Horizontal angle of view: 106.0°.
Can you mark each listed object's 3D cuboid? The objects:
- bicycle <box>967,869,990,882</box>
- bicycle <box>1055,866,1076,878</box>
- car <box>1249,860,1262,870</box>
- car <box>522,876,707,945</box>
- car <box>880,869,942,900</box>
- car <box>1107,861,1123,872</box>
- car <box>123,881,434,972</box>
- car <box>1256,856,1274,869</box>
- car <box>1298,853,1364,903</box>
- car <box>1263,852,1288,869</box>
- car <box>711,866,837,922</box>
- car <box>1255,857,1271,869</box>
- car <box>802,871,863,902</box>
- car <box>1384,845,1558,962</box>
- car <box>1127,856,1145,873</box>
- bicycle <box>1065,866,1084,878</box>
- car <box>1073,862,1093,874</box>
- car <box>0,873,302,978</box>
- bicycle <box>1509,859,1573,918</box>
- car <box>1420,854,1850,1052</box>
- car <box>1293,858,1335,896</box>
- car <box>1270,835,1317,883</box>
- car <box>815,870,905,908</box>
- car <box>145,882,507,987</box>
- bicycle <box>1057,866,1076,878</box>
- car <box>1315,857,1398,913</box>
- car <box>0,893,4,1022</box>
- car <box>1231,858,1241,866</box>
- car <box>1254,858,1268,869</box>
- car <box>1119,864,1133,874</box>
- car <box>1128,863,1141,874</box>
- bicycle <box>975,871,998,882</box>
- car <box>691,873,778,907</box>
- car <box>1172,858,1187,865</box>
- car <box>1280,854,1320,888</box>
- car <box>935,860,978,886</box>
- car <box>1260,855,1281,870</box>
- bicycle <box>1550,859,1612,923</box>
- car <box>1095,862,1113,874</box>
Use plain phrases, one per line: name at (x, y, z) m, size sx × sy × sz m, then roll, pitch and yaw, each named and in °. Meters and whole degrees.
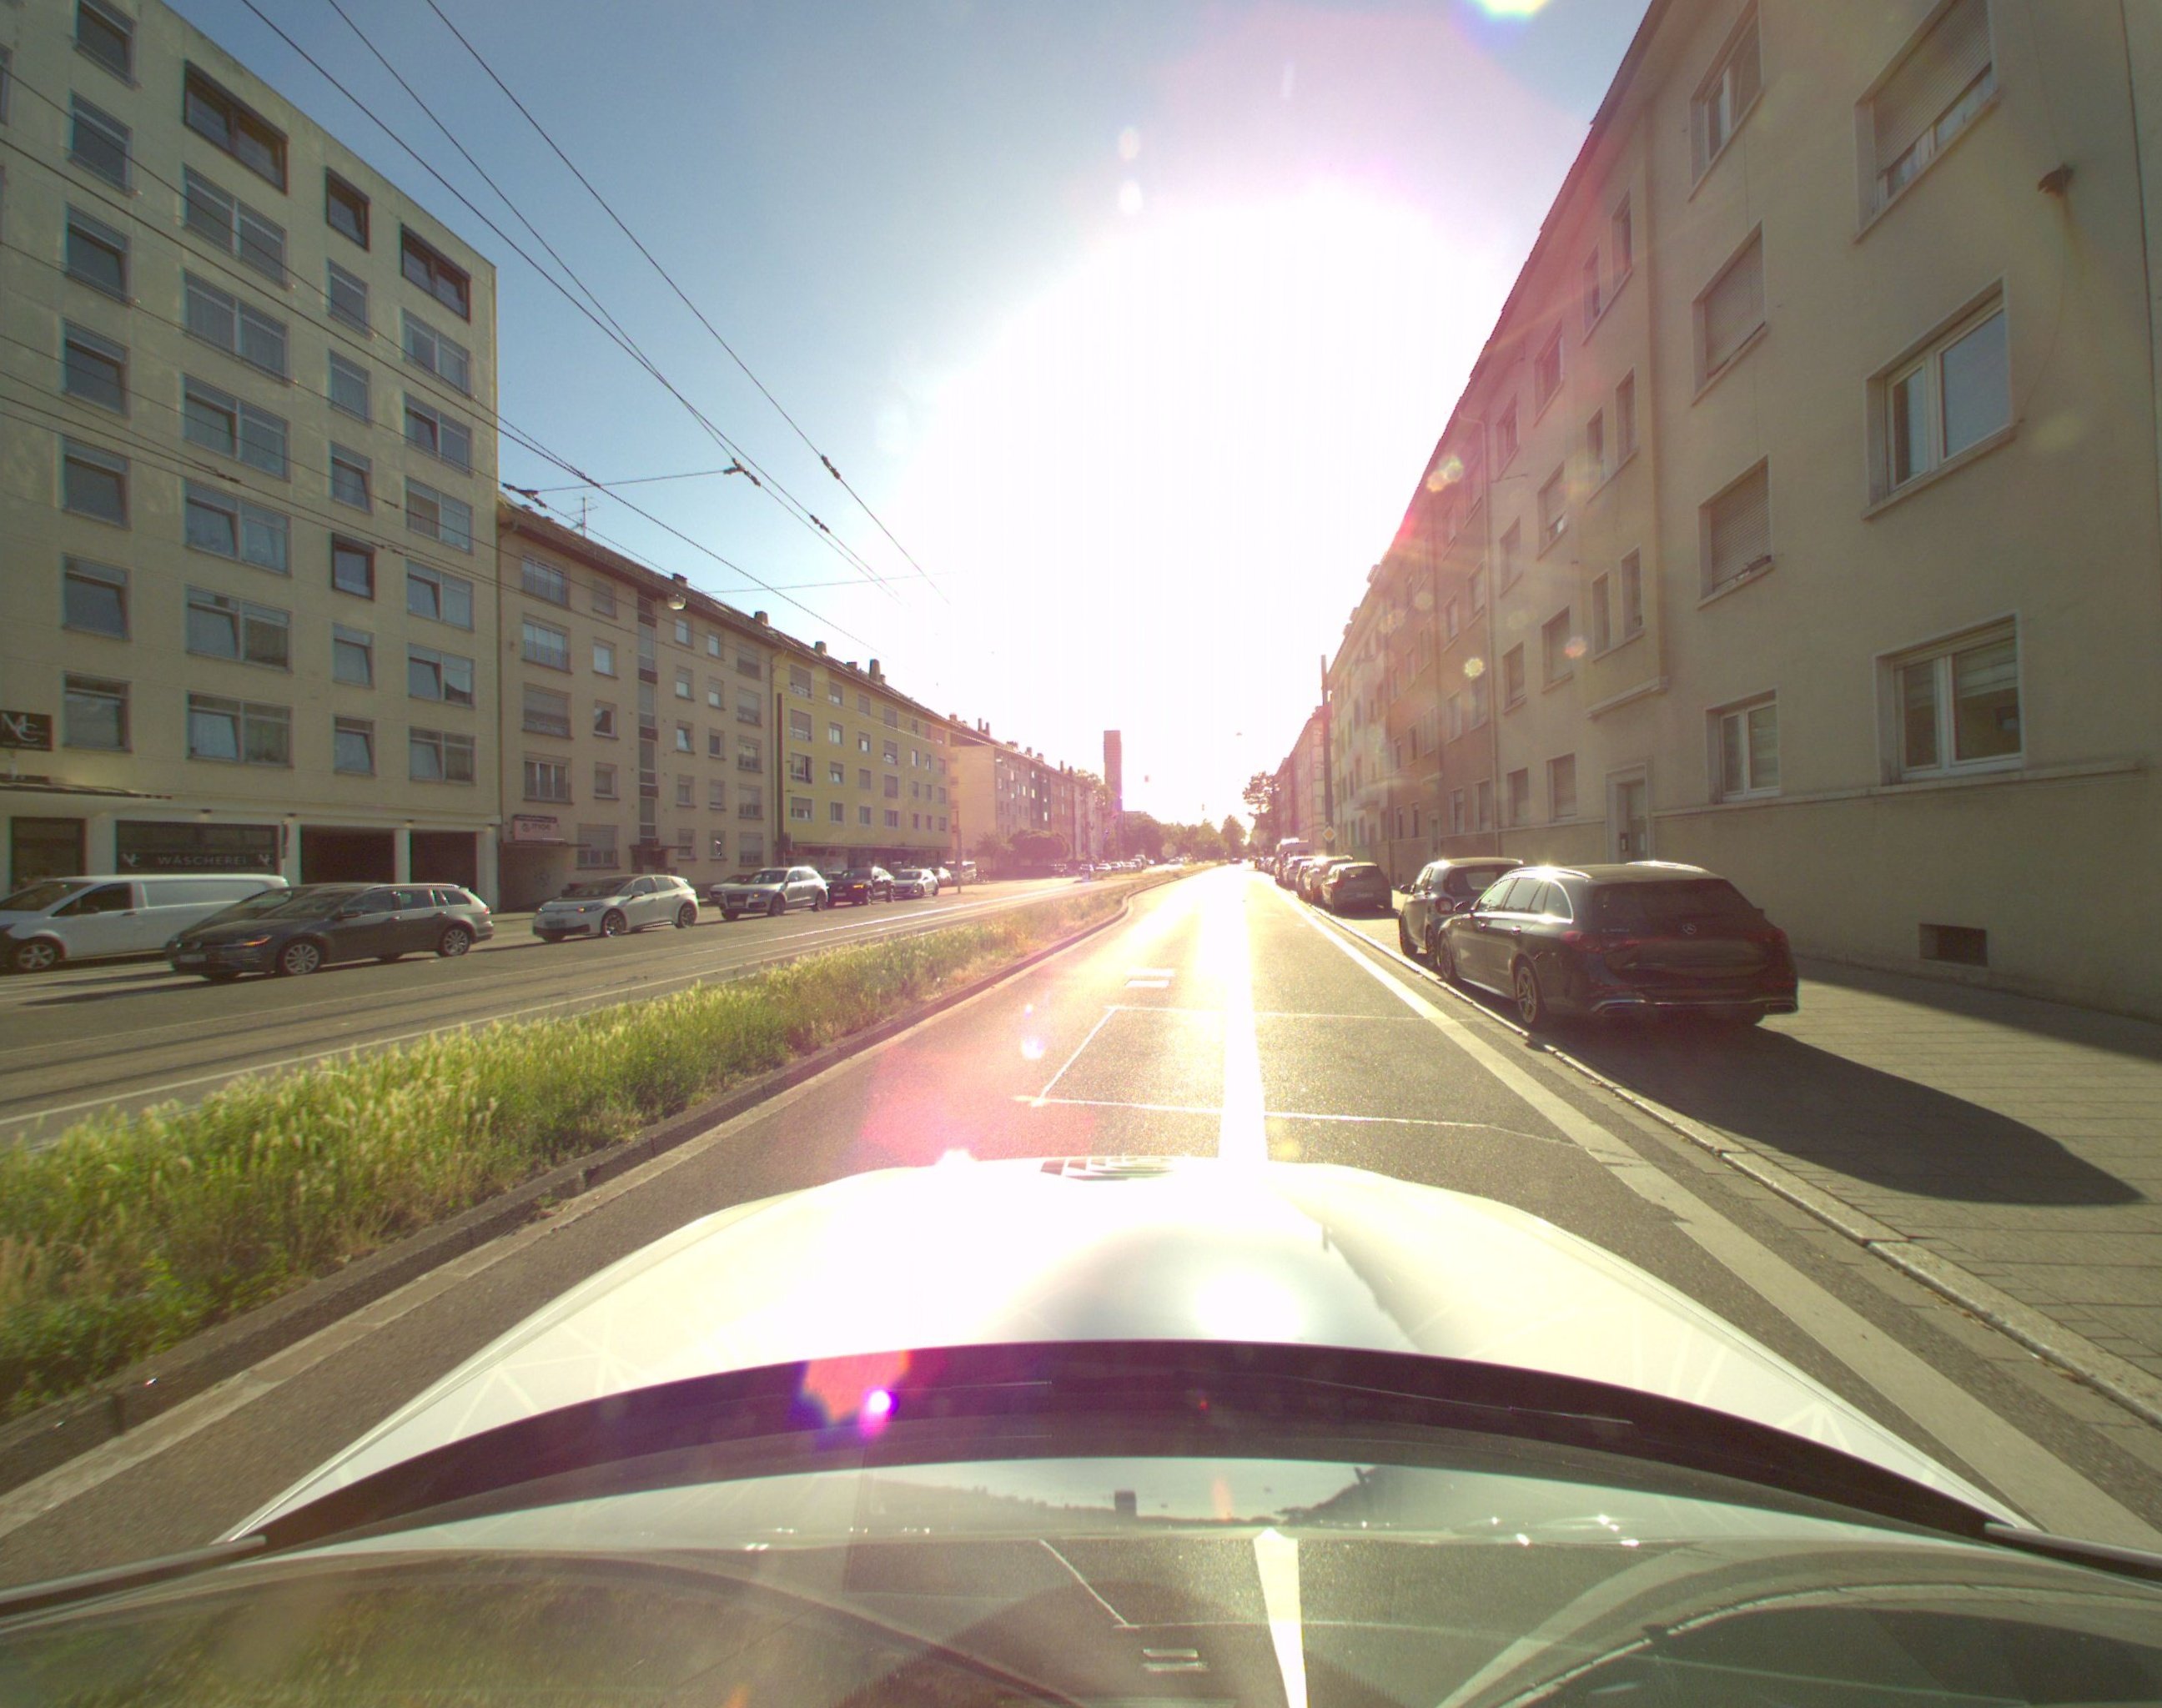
bicycle at (-9.408, 1.974, 74.754) m, size 1.968 × 1.206 × 0.693 m, roll -1°, pitch -3°, yaw -17°
bicycle at (-1.820, 2.102, 94.472) m, size 2.296 × 1.305 × 0.915 m, roll -2°, pitch -3°, yaw 7°
car at (29.214, 1.794, 136.133) m, size 1.885 × 1.488 × 3.749 m, roll -2°, pitch -3°, yaw 10°
car at (-11.733, 1.356, 20.875) m, size 1.827 × 1.515 × 4.254 m, roll -2°, pitch -1°, yaw 9°
car at (-8.616, 1.517, 41.628) m, size 1.813 × 1.446 × 4.292 m, roll -2°, pitch -1°, yaw 6°
car at (5.281, 1.952, 127.584) m, size 1.982 × 1.554 × 4.009 m, roll -2°, pitch -3°, yaw 9°
car at (-16.673, 1.428, 17.296) m, size 1.970 × 1.576 × 4.334 m, roll -2°, pitch -1°, yaw 10°
car at (23.213, 1.107, 102.800) m, size 1.885 × 1.488 × 3.749 m, roll -2°, pitch -3°, yaw 10°
car at (9.219, 0.841, 30.334) m, size 1.652 × 1.644 × 4.194 m, roll -4°, pitch -1°, yaw 8°
car at (18.223, 0.626, 76.429) m, size 1.886 × 1.488 × 3.747 m, roll -2°, pitch -3°, yaw 8°
car at (-10.319, 1.302, 27.832) m, size 1.853 × 1.577 × 4.643 m, roll -4°, pitch -1°, yaw 10°
car at (24.622, 1.219, 110.527) m, size 1.885 × 1.488 × 3.749 m, roll -2°, pitch -3°, yaw 10°
car at (-14.677, 1.891, 48.318) m, size 1.819 × 1.581 × 3.814 m, roll -2°, pitch 0°, yaw 12°
car at (5.843, 0.707, 12.560) m, size 1.543 × 1.526 × 2.996 m, roll -3°, pitch -1°, yaw 9°
car at (11.002, 2.108, 162.413) m, size 2.968 × 3.238 × 6.809 m, roll -2°, pitch -3°, yaw 9°
bicycle at (-0.779, 2.195, 98.642) m, size 2.125 × 1.325 × 0.894 m, roll -1°, pitch -3°, yaw -7°
car at (0.310, 1.846, 104.860) m, size 1.982 × 1.453 × 4.009 m, roll -2°, pitch -3°, yaw 8°
car at (-21.051, 1.425, 17.995) m, size 1.930 × 1.869 × 5.342 m, roll 1°, pitch 0°, yaw 11°
bicycle at (10.310, 0.743, 18.316) m, size 0.625 × 1.192 × 1.888 m, roll -4°, pitch -1°, yaw 12°
car at (5.106, 0.782, 8.485) m, size 1.872 × 1.398 × 4.755 m, roll -4°, pitch -1°, yaw 10°
car at (9.988, 0.949, 35.074) m, size 1.492 × 1.426 × 3.465 m, roll -4°, pitch -1°, yaw 13°
car at (13.033, 0.292, 50.214) m, size 2.145 × 2.651 × 5.658 m, roll -4°, pitch -1°, yaw 9°
car at (-9.359, 1.449, 34.918) m, size 1.951 × 1.480 × 4.580 m, roll -2°, pitch -1°, yaw 9°
car at (-13.221, 1.327, 14.750) m, size 1.806 × 1.491 × 4.556 m, roll -2°, pitch -1°, yaw 12°
bicycle at (-1.719, 2.160, 96.407) m, size 2.117 × 1.325 × 0.898 m, roll -2°, pitch -3°, yaw 4°
car at (8.427, 0.894, 25.265) m, size 1.762 × 1.471 × 4.105 m, roll -4°, pitch -1°, yaw 10°
car at (-14.428, 1.239, 7.841) m, size 1.917 × 1.548 × 4.468 m, roll -2°, pitch -1°, yaw 13°
car at (36.717, 1.939, 192.825) m, size 1.985 × 1.783 × 4.003 m, roll -2°, pitch -3°, yaw 4°
car at (26.700, 1.395, 121.015) m, size 1.885 × 1.488 × 3.749 m, roll -2°, pitch -3°, yaw 10°
car at (7.932, 2.683, 142.102) m, size 1.982 × 1.554 × 4.009 m, roll -2°, pitch -3°, yaw 9°
car at (10.040, 2.803, 153.588) m, size 1.982 × 1.965 × 4.762 m, roll -2°, pitch -3°, yaw 9°
bicycle at (-8.877, 2.129, 76.650) m, size 2.069 × 1.022 × 0.803 m, roll -2°, pitch -3°, yaw -3°
car at (-16.576, 1.687, 39.159) m, size 1.764 × 1.435 × 4.068 m, roll -2°, pitch -1°, yaw 12°
car at (26.716, 1.998, 220.101) m, size 3.968 × 1.684 × 2.002 m, roll -2°, pitch -3°, yaw 5°
car at (11.521, 0.857, 43.004) m, size 1.580 × 1.634 × 3.928 m, roll -4°, pitch -1°, yaw 9°
car at (-10.685, 1.599, 70.338) m, size 1.991 × 2.106 × 5.319 m, roll -2°, pitch -1°, yaw 9°
car at (20.154, 0.907, 86.851) m, size 1.886 × 1.488 × 3.747 m, roll -2°, pitch -3°, yaw 8°
bicycle at (10.037, 0.726, 16.402) m, size 0.510 × 1.193 × 1.562 m, roll -2°, pitch 0°, yaw 12°
car at (3.308, 2.028, 117.415) m, size 1.982 × 1.581 × 4.009 m, roll -2°, pitch -3°, yaw 9°
